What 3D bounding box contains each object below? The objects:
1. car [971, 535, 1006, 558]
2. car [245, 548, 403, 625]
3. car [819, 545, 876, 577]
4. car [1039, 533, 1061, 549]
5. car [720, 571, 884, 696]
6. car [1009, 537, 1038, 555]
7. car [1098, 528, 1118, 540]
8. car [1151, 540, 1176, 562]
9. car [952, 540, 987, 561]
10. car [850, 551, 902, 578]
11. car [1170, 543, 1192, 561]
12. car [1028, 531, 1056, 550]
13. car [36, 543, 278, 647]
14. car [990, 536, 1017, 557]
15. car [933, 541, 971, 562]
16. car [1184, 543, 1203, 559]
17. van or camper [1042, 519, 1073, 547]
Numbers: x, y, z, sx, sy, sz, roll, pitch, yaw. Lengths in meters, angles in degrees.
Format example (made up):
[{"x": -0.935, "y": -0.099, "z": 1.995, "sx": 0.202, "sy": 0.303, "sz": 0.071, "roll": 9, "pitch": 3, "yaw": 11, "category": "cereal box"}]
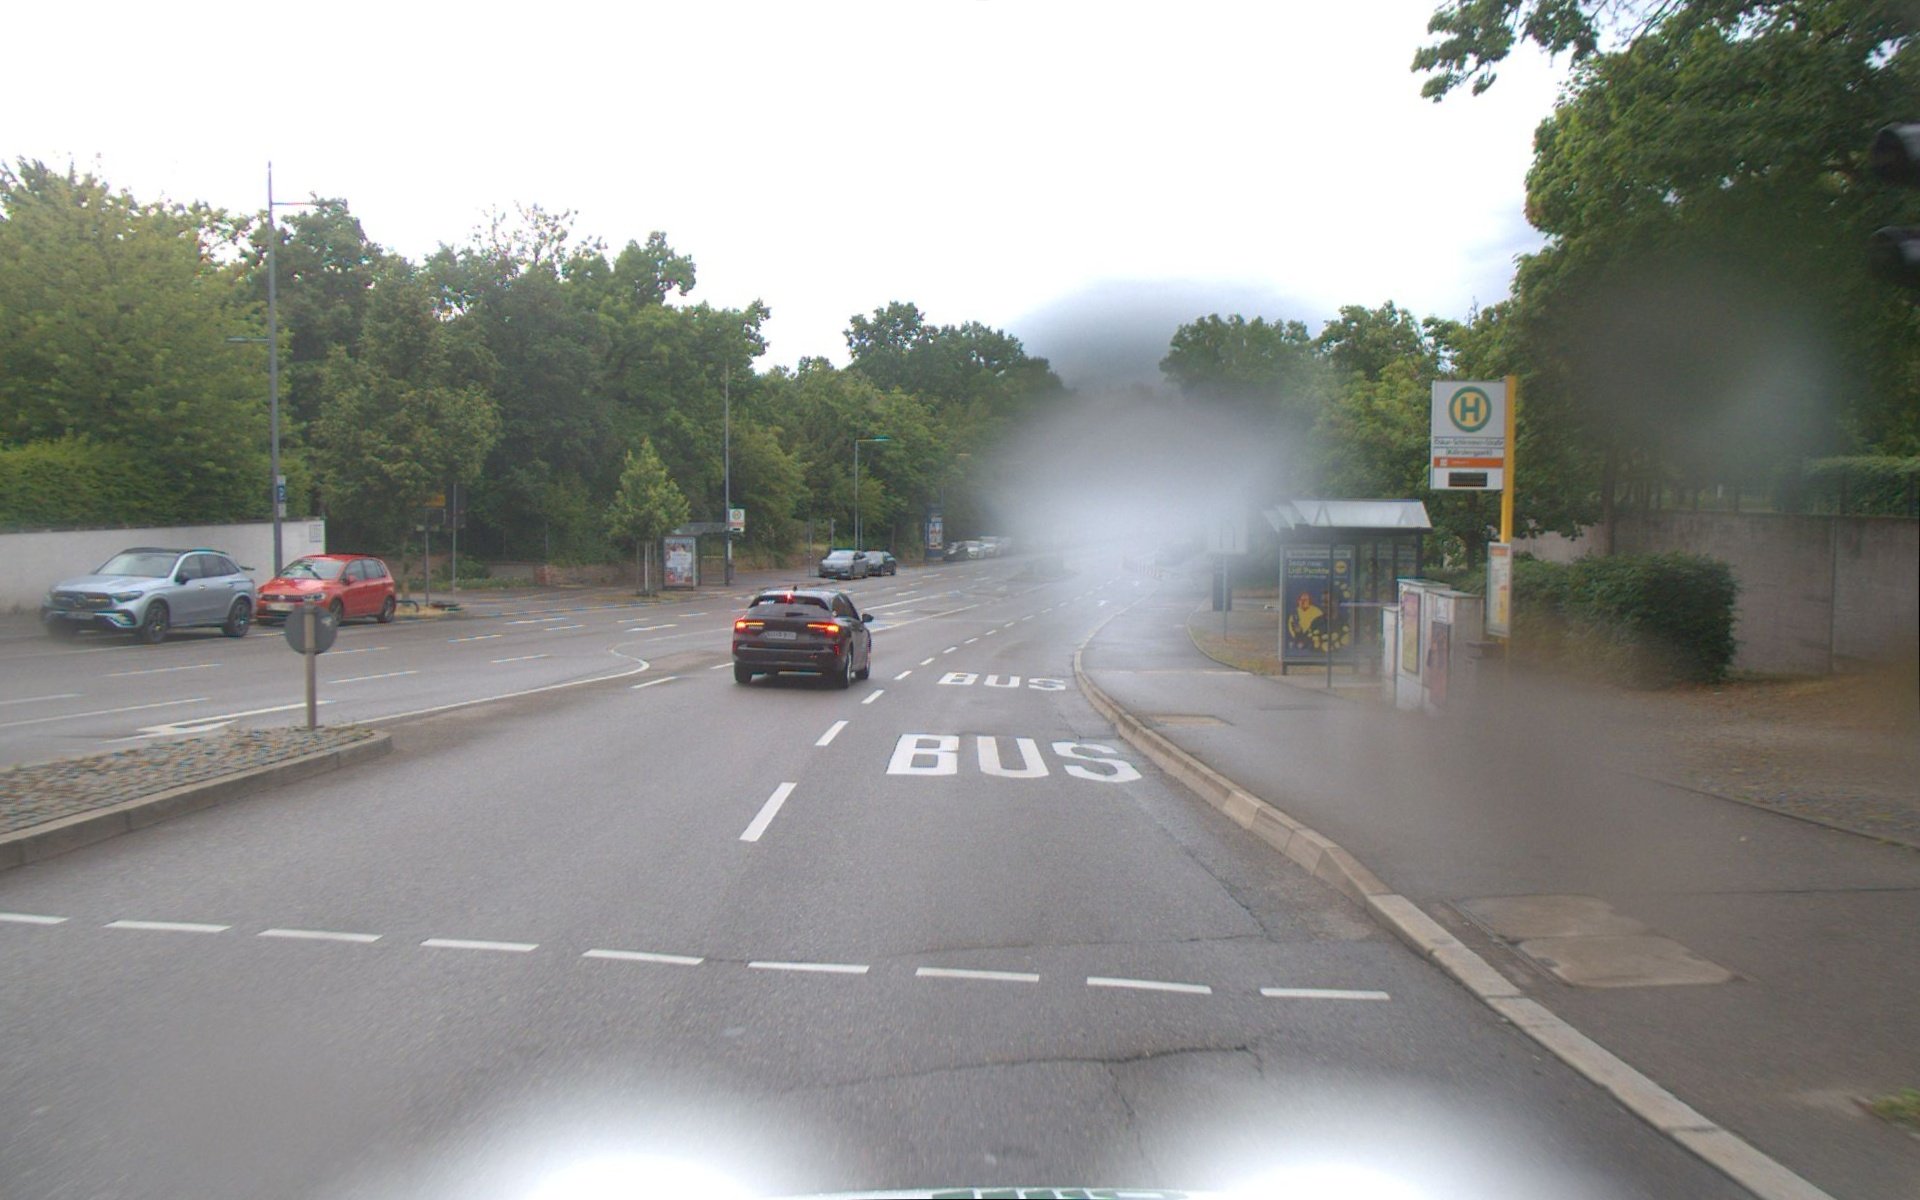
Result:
[{"x": 2.421, "y": -4.467, "z": 138.419, "sx": 1.951, "sy": 1.795, "sz": 4.966, "roll": 3, "pitch": 3, "yaw": 12, "category": "car"}, {"x": -14.327, "y": -0.320, "z": 37.510, "sx": 1.630, "sy": 1.614, "sz": 4.220, "roll": 1, "pitch": 1, "yaw": 5, "category": "car"}, {"x": -6.239, "y": -2.184, "z": 92.438, "sx": 1.802, "sy": 1.616, "sz": 4.934, "roll": 4, "pitch": 3, "yaw": 12, "category": "car"}, {"x": 9.058, "y": -5.931, "z": 166.771, "sx": 1.583, "sy": 1.473, "sz": 3.661, "roll": 1, "pitch": 3, "yaw": 14, "category": "car"}, {"x": -2.375, "y": 0.449, "z": 25.828, "sx": 1.842, "sy": 1.490, "sz": 4.004, "roll": 4, "pitch": 4, "yaw": 4, "category": "car"}, {"x": 6.002, "y": -5.115, "z": 155.882, "sx": 1.878, "sy": 1.644, "sz": 4.495, "roll": 2, "pitch": 3, "yaw": 14, "category": "car"}, {"x": 17.743, "y": -7.907, "z": 198.026, "sx": 1.830, "sy": 1.326, "sz": 4.476, "roll": 3, "pitch": 4, "yaw": 13, "category": "car"}, {"x": 16.295, "y": -3.927, "z": 132.424, "sx": 1.783, "sy": 1.642, "sz": 4.257, "roll": 3, "pitch": 3, "yaw": 9, "category": "car"}, {"x": 0.763, "y": -3.956, "z": 131.370, "sx": 1.682, "sy": 1.485, "sz": 4.713, "roll": 2, "pitch": 3, "yaw": 13, "category": "car"}, {"x": -4.996, "y": -2.137, "z": 98.829, "sx": 1.866, "sy": 1.438, "sz": 4.788, "roll": 4, "pitch": 3, "yaw": 12, "category": "car"}, {"x": 21.363, "y": -4.659, "z": 159.752, "sx": 1.624, "sy": 1.489, "sz": 3.904, "roll": 5, "pitch": 4, "yaw": 12, "category": "car"}, {"x": 8.066, "y": -5.864, "z": 162.424, "sx": 1.951, "sy": 1.729, "sz": 4.621, "roll": 2, "pitch": 4, "yaw": 11, "category": "car"}, {"x": -14.757, "y": -0.125, "z": 30.738, "sx": 1.727, "sy": 1.682, "sz": 4.887, "roll": 3, "pitch": 1, "yaw": 5, "category": "car"}, {"x": 3.835, "y": -4.778, "z": 146.231, "sx": 1.694, "sy": 1.677, "sz": 4.577, "roll": 3, "pitch": 3, "yaw": 10, "category": "car"}, {"x": -0.572, "y": -3.733, "z": 126.392, "sx": 1.712, "sy": 1.469, "sz": 4.591, "roll": 3, "pitch": 4, "yaw": 15, "category": "car"}, {"x": 24.689, "y": -5.146, "z": 174.766, "sx": 1.783, "sy": 1.511, "sz": 4.203, "roll": 0, "pitch": 0, "yaw": 10, "category": "car"}, {"x": 10.173, "y": -6.974, "z": 171.645, "sx": 2.098, "sy": 2.672, "sz": 5.689, "roll": 2, "pitch": 3, "yaw": 14, "category": "van or camper"}]
